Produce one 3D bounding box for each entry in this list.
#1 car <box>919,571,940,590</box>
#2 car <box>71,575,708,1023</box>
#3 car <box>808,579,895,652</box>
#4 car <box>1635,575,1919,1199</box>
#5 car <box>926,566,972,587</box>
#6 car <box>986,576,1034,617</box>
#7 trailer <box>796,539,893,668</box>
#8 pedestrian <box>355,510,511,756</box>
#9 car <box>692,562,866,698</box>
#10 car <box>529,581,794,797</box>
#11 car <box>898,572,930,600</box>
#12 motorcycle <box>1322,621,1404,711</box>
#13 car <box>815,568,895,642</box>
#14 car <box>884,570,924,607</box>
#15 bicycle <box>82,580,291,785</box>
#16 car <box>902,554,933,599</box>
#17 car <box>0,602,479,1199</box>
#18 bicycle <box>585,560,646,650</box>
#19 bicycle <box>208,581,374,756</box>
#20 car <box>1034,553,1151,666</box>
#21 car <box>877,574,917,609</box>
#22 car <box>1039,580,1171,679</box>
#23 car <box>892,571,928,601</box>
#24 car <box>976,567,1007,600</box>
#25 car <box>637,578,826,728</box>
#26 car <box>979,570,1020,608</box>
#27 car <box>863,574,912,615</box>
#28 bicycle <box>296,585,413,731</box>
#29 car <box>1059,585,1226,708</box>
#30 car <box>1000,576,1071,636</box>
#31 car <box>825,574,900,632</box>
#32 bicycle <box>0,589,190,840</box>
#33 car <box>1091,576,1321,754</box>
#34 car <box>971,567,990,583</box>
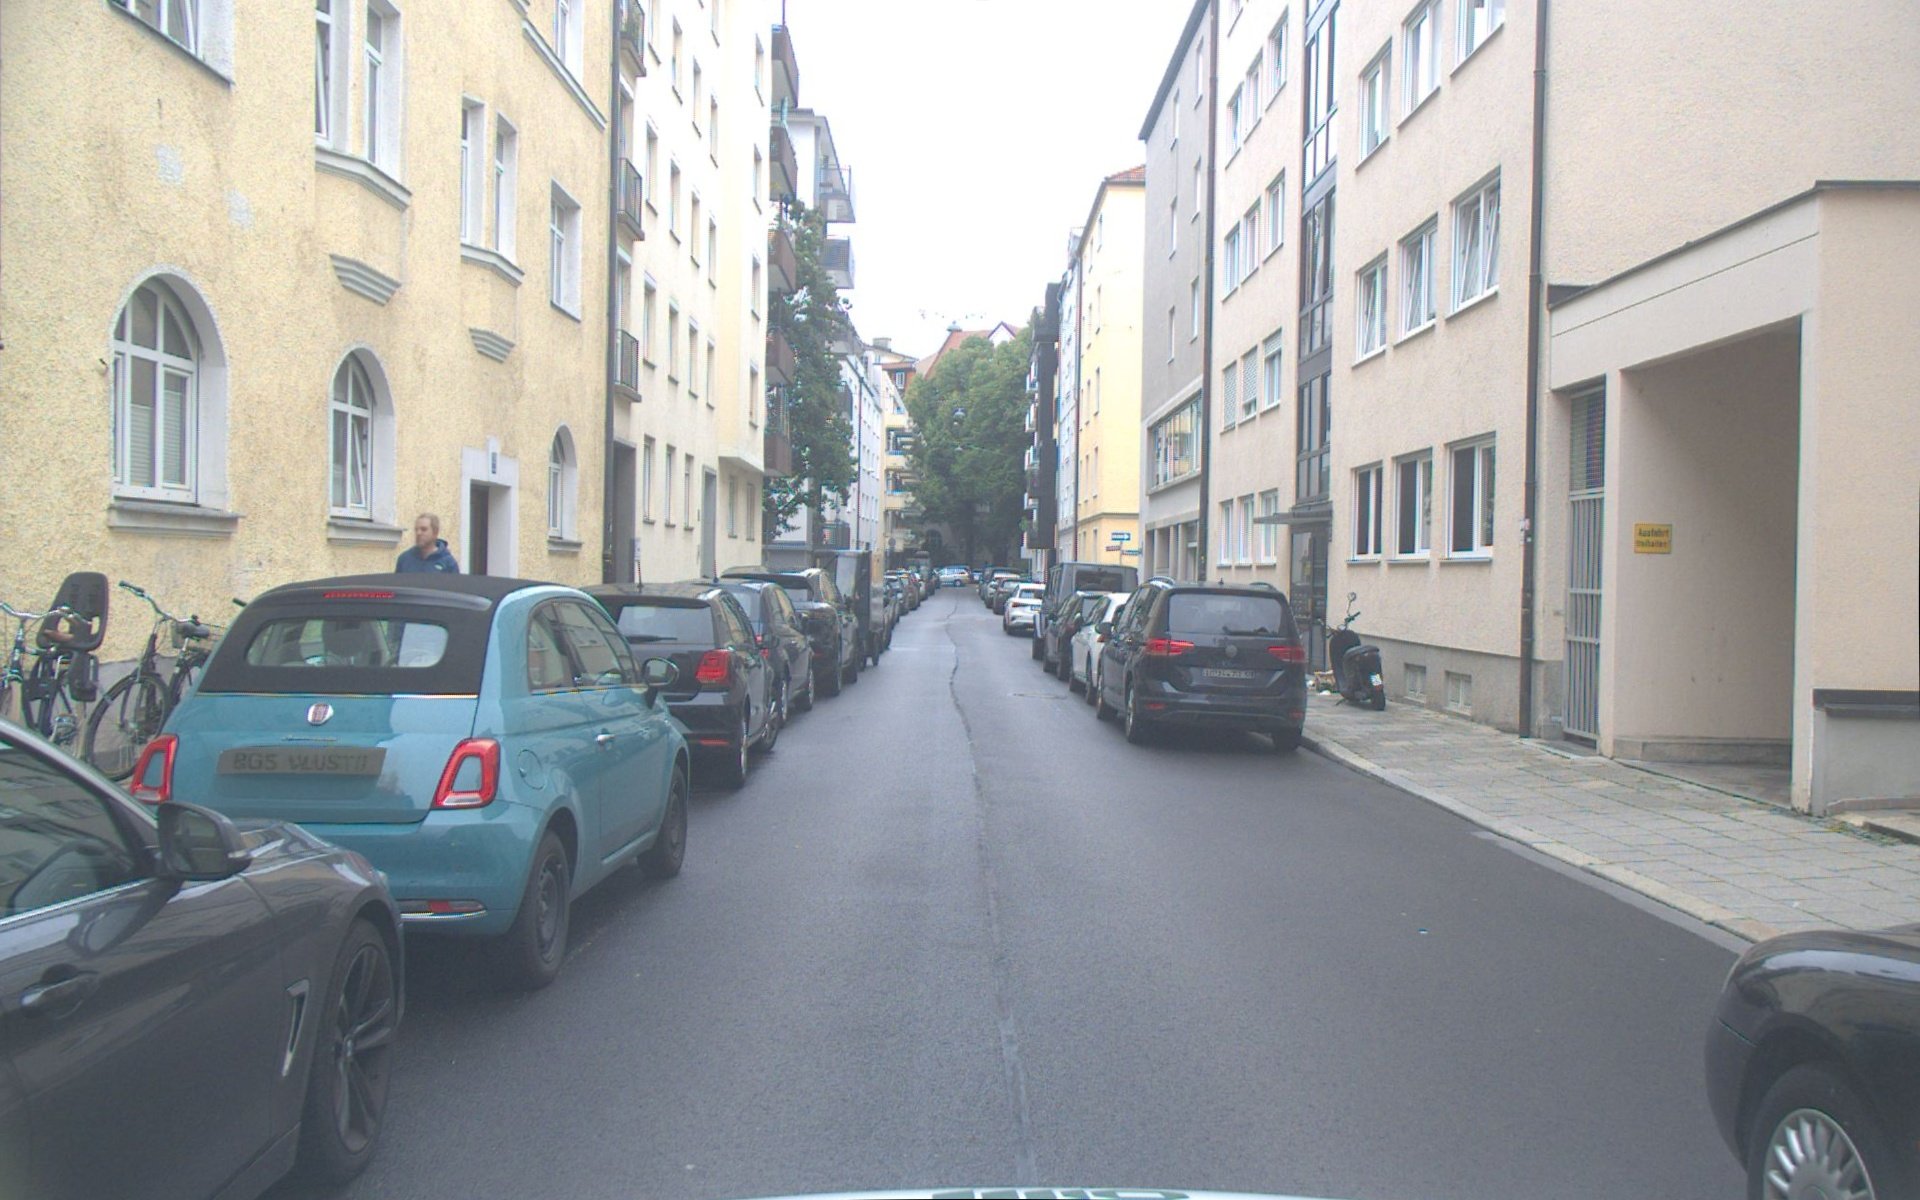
[{"bbox_3d":[-2.353,-1.530,128.348,1.609,1.407,3.482,-2,1,-1],"label":"car"},{"bbox_3d":[-2.166,0.645,7.221,1.530,1.486,3.405,0,1,1],"label":"car"},{"bbox_3d":[-2.265,0.291,35.305,1.618,1.461,3.803,0,1,0],"label":"car"},{"bbox_3d":[2.647,0.746,1.857,1.683,1.497,4.529,2,0,-3],"label":"car"},{"bbox_3d":[-0.945,-1.934,138.058,3.807,1.612,1.647,-2,1,-2],"label":"car"},{"bbox_3d":[2.034,-0.177,68.031,1.715,1.494,4.343,4,1,-1],"label":"car"},{"bbox_3d":[-2.007,0.037,29.380,1.327,2.153,3.319,1,0,2],"label":"trailer"},{"bbox_3d":[-4.049,0.238,12.792,0.822,1.795,1.068,2,0,-1],"label":"pedestrian"},{"bbox_3d":[-2.395,0.352,22.966,1.840,1.689,4.415,0,1,1],"label":"car"},{"bbox_3d":[-2.244,0.593,13.274,1.531,1.486,3.763,0,1,-2],"label":"car"},{"bbox_3d":[-2.610,-0.828,94.929,1.740,1.478,4.046,-2,1,-1],"label":"car"},{"bbox_3d":[4.949,0.792,20.391,0.472,0.984,1.911,-3,1,-1],"label":"motorcycle"},{"bbox_3d":[-2.521,0.093,40.574,1.730,1.704,4.367,0,1,-1],"label":"car"},{"bbox_3d":[-2.590,-0.573,76.686,1.740,1.657,4.414,0,1,-1],"label":"car"},{"bbox_3d":[-5.132,0.506,11.096,0.581,1.255,1.736,1,0,-1],"label":"bicycle"},{"bbox_3d":[-2.772,-1.566,109.483,1.897,2.850,4.532,-2,1,-1],"label":"car"},{"bbox_3d":[-2.206,0.776,2.526,1.775,1.410,4.250,-1,1,-2],"label":"car"},{"bbox_3d":[-5.256,0.064,25.306,0.582,1.301,1.551,3,0,-2],"label":"bicycle"},{"bbox_3d":[-5.175,0.495,12.906,0.581,1.255,1.736,1,0,-1],"label":"bicycle"},{"bbox_3d":[2.566,0.120,32.966,1.716,2.009,4.341,3,1,-2],"label":"car"},{"bbox_3d":[-2.664,-0.386,70.698,1.659,1.467,3.976,0,1,-2],"label":"car"},{"bbox_3d":[2.401,0.454,28.302,1.677,1.512,4.242,2,0,-2],"label":"car"},{"bbox_3d":[-2.684,-0.764,89.823,1.740,1.513,4.520,-2,1,0],"label":"car"},{"bbox_3d":[2.109,-1.150,112.229,1.792,2.034,4.415,4,1,-1],"label":"car"},{"bbox_3d":[-2.420,0.509,18.228,1.530,1.486,3.476,0,1,1],"label":"car"},{"bbox_3d":[1.834,-0.546,78.022,1.648,1.594,4.414,4,1,-2],"label":"car"},{"bbox_3d":[-2.723,-0.229,62.856,1.658,1.467,3.943,0,1,0],"label":"car"},{"bbox_3d":[-5.336,0.481,14.655,0.430,1.211,1.632,1,0,-1],"label":"bicycle"},{"bbox_3d":[2.467,0.582,23.352,1.677,1.512,4.242,2,0,-2],"label":"car"},{"bbox_3d":[2.151,0.133,48.042,1.782,1.432,3.953,2,3,-1],"label":"car"},{"bbox_3d":[-2.670,0.049,46.135,1.729,1.509,4.425,0,1,1],"label":"car"},{"bbox_3d":[-5.032,0.575,9.247,0.624,1.255,1.736,1,0,-1],"label":"bicycle"},{"bbox_3d":[2.514,0.608,17.876,1.677,1.636,4.243,2,0,-2],"label":"car"},{"bbox_3d":[1.929,-2.342,155.181,1.609,1.407,3.746,-2,1,-1],"label":"car"}]
